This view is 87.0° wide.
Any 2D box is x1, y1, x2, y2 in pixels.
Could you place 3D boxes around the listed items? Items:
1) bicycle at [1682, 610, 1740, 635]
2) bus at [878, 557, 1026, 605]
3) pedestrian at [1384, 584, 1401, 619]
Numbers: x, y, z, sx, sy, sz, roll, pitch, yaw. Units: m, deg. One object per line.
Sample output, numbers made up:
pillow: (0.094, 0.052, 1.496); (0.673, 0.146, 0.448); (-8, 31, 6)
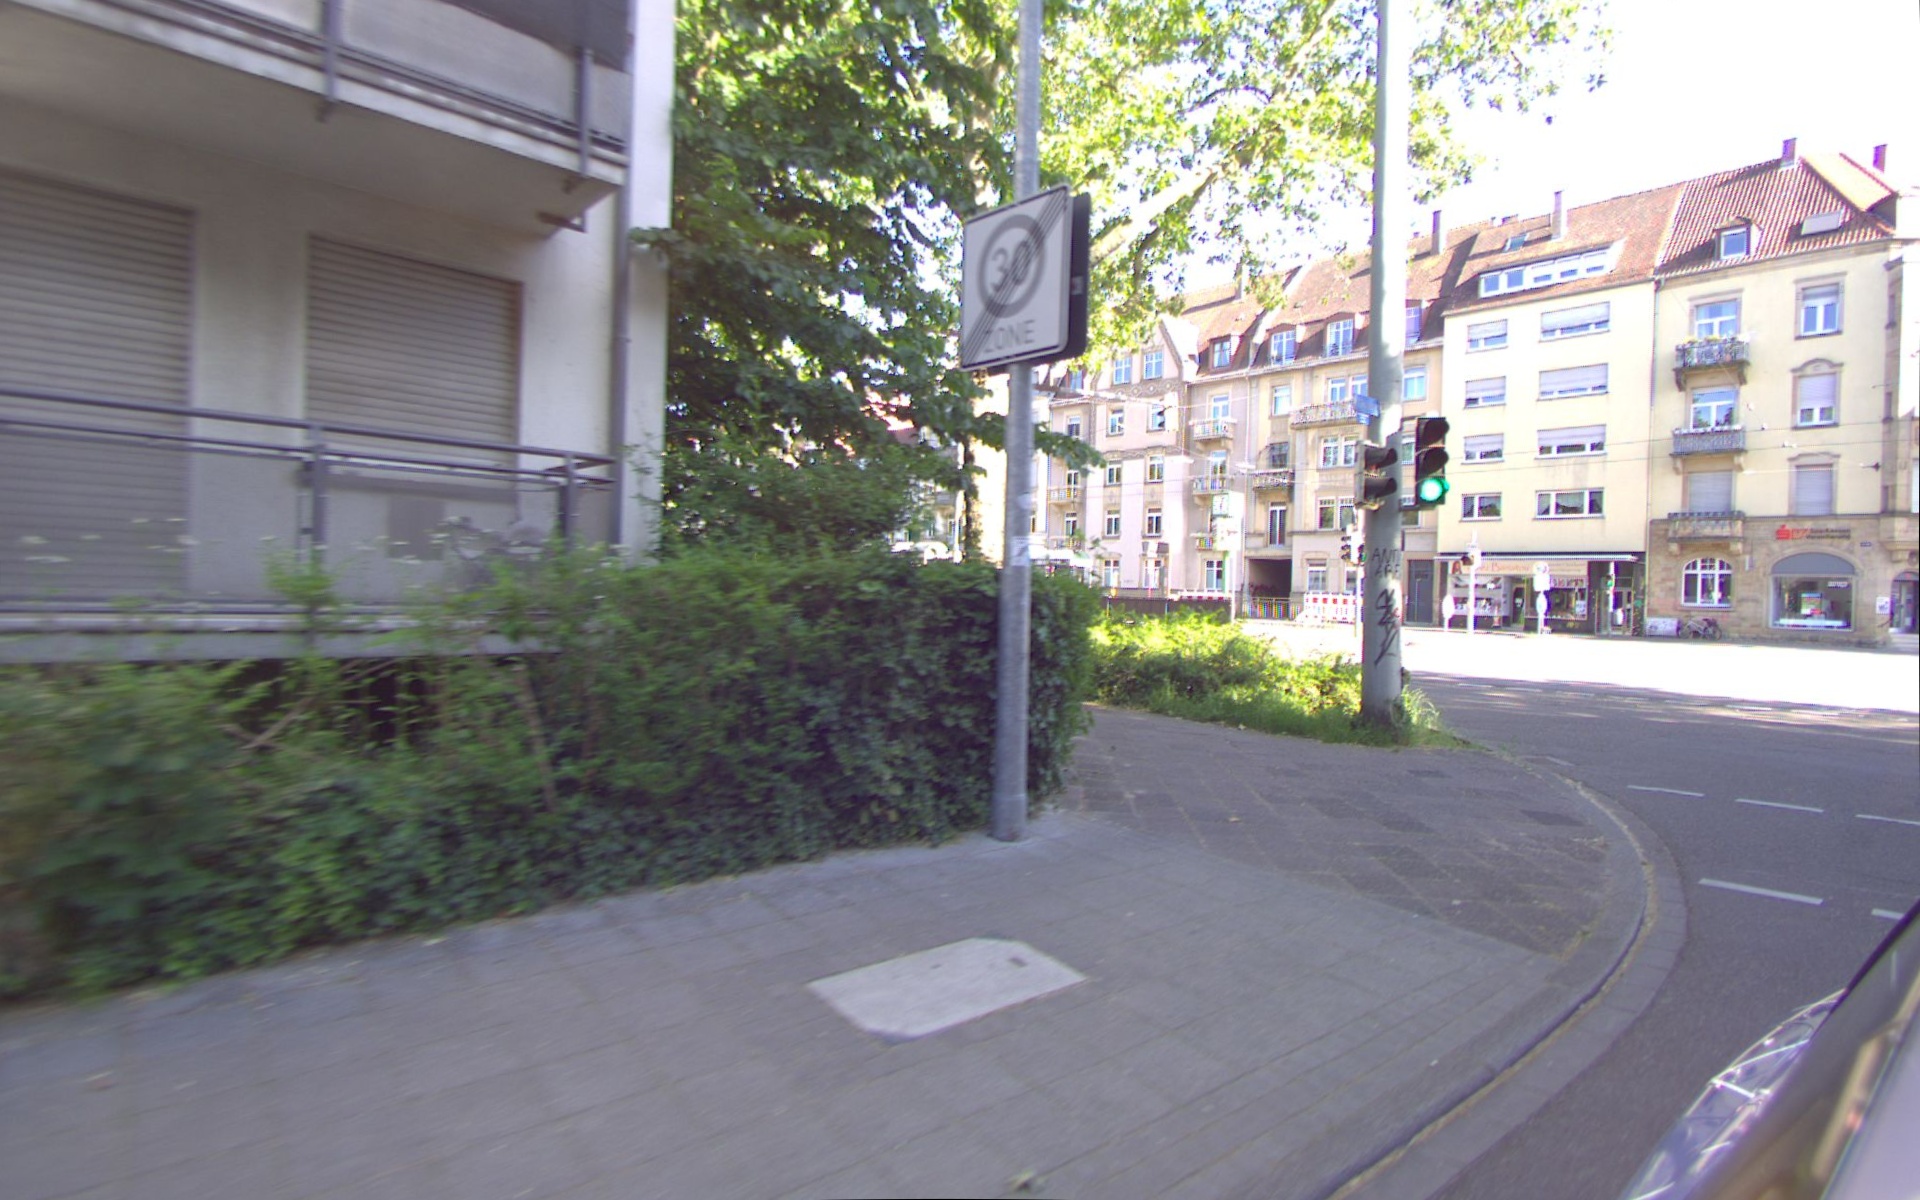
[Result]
bicycle: (32.449, 0.950, 43.727); (0.508, 0.987, 1.951); (-2, 2, -40)
bus: (-0.707, -1.381, 71.073); (10.618, 3.072, 3.092); (2, 0, 36)
pedestrian: (23.121, 0.094, 54.053); (0.695, 1.826, 0.521); (2, 0, -37)
